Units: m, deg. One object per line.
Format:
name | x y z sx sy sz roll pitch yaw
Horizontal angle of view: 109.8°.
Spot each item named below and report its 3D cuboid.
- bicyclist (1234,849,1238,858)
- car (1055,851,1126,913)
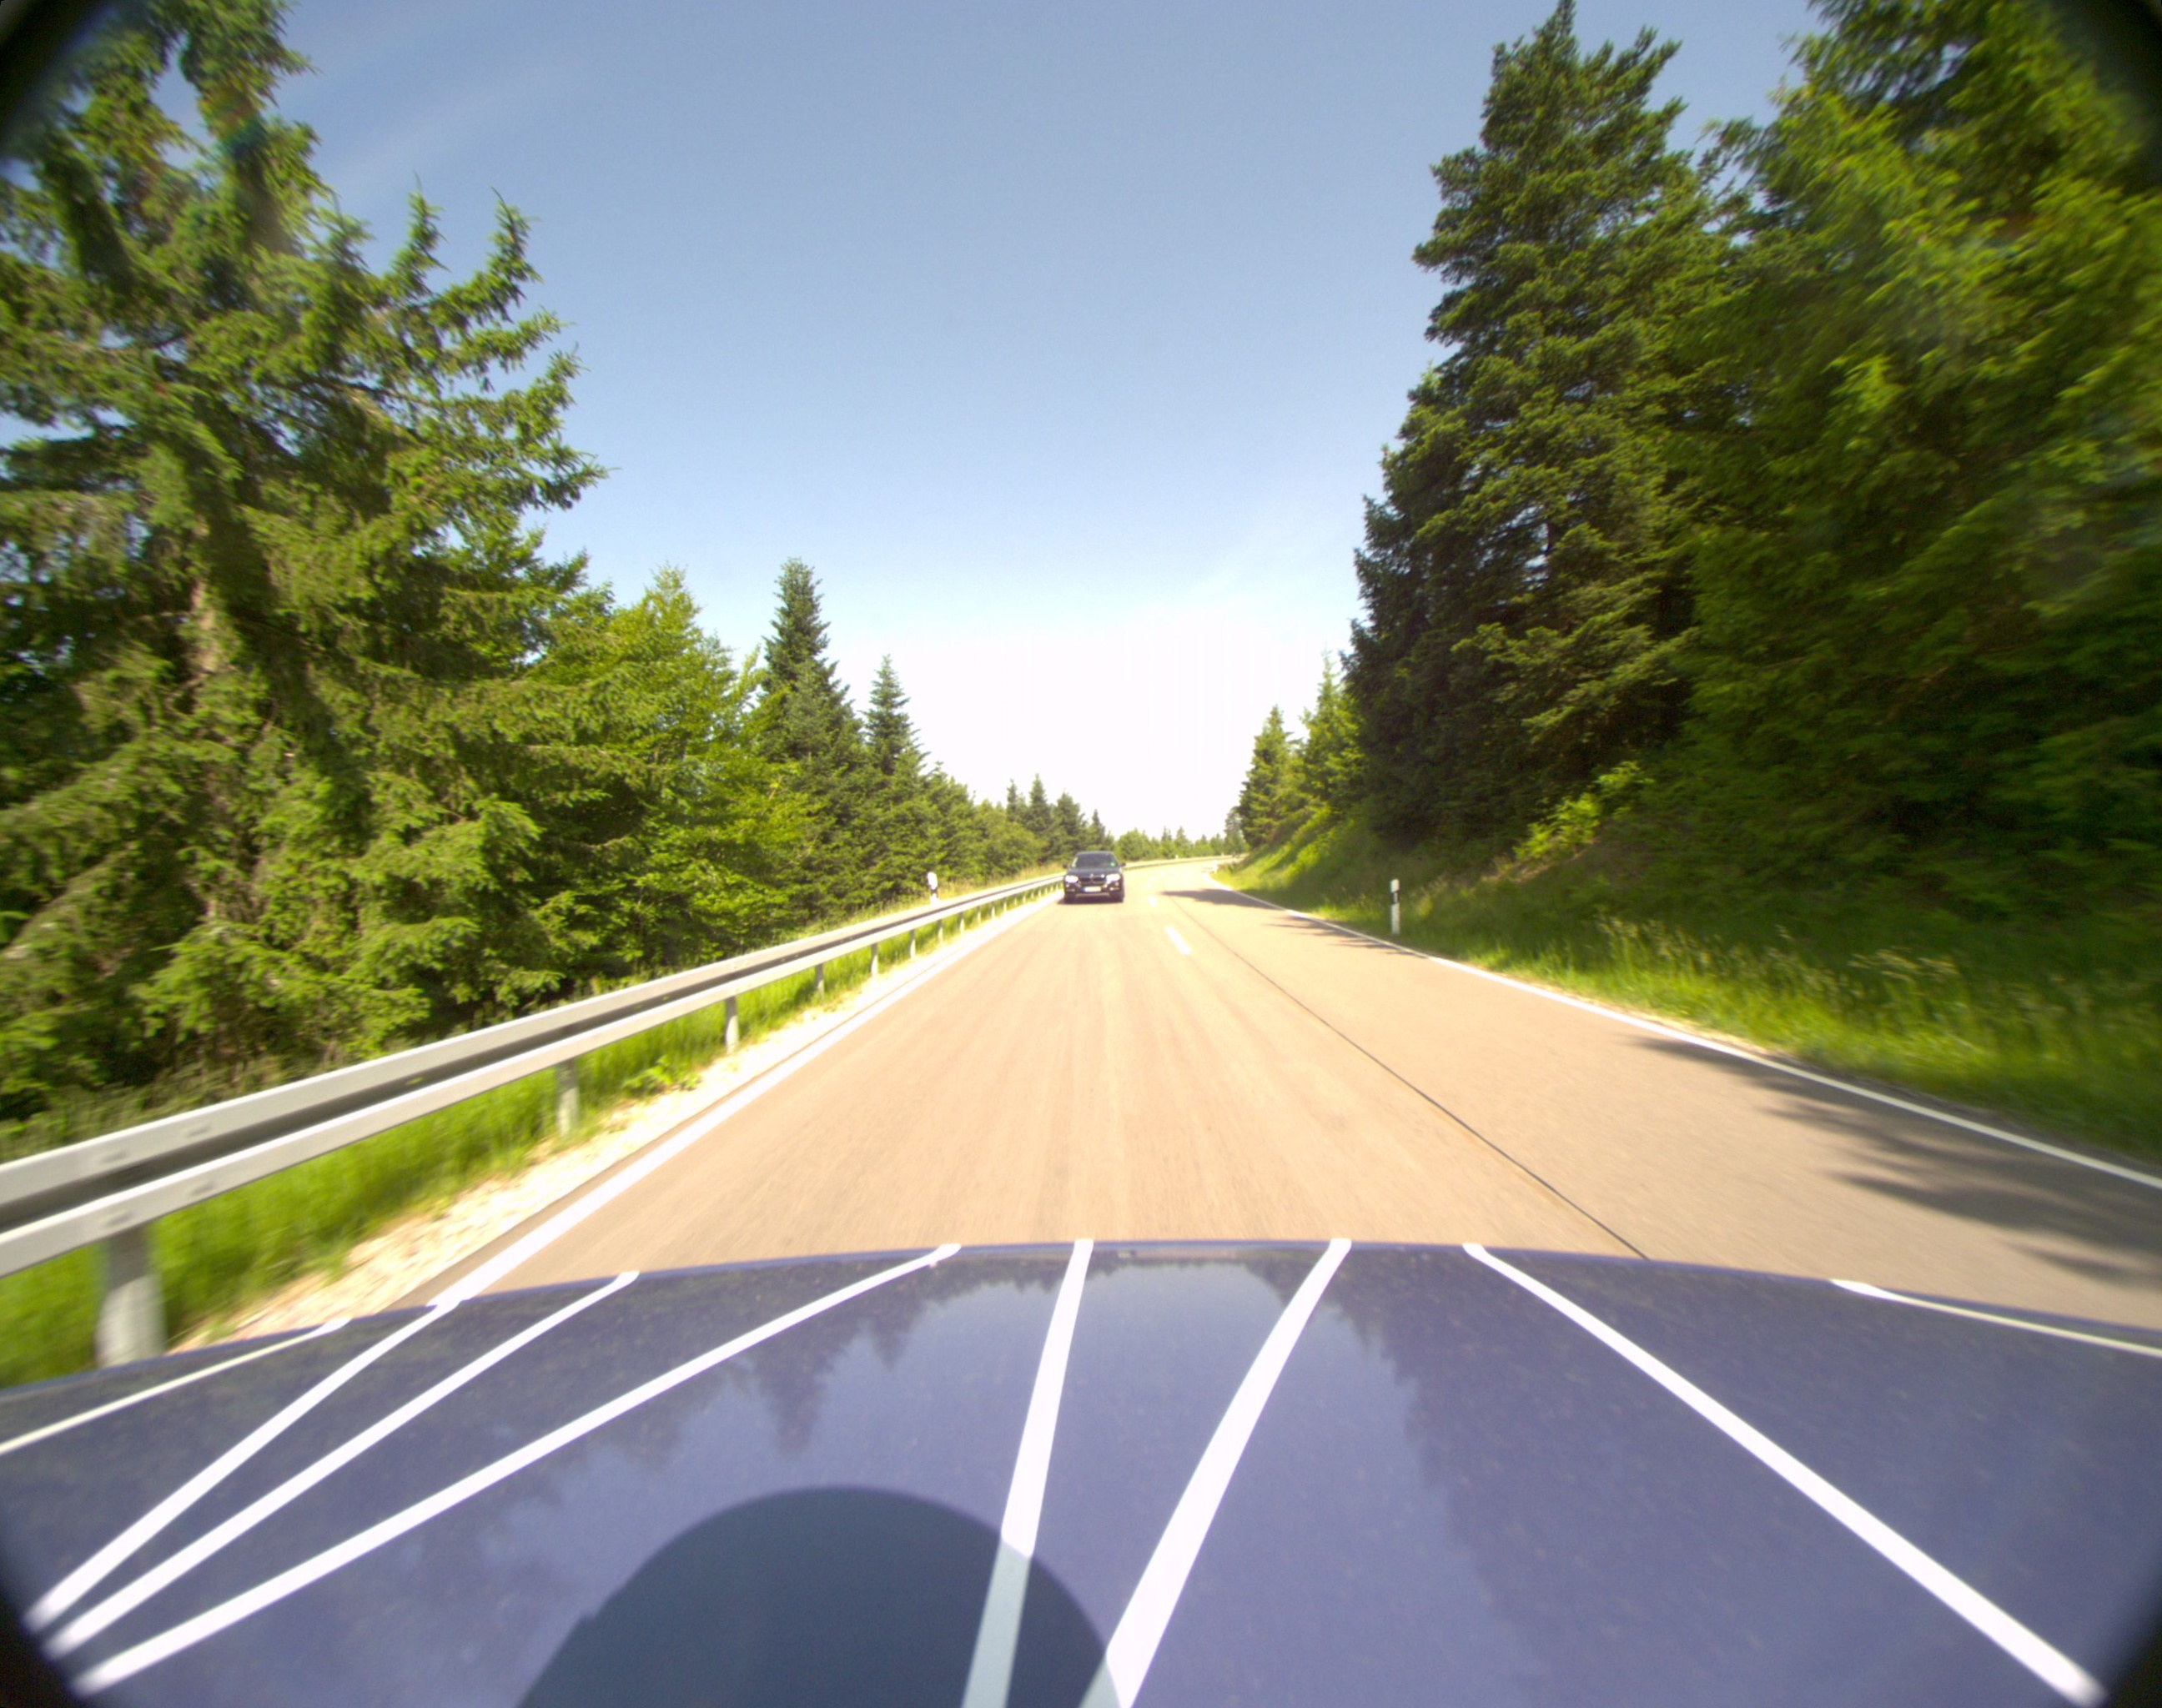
bicyclist | 24.397 -0.119 119.858 0.542 1.442 0.984 0 1 14
car | 0.427 0.811 24.955 1.998 1.677 5.937 -2 1 3
